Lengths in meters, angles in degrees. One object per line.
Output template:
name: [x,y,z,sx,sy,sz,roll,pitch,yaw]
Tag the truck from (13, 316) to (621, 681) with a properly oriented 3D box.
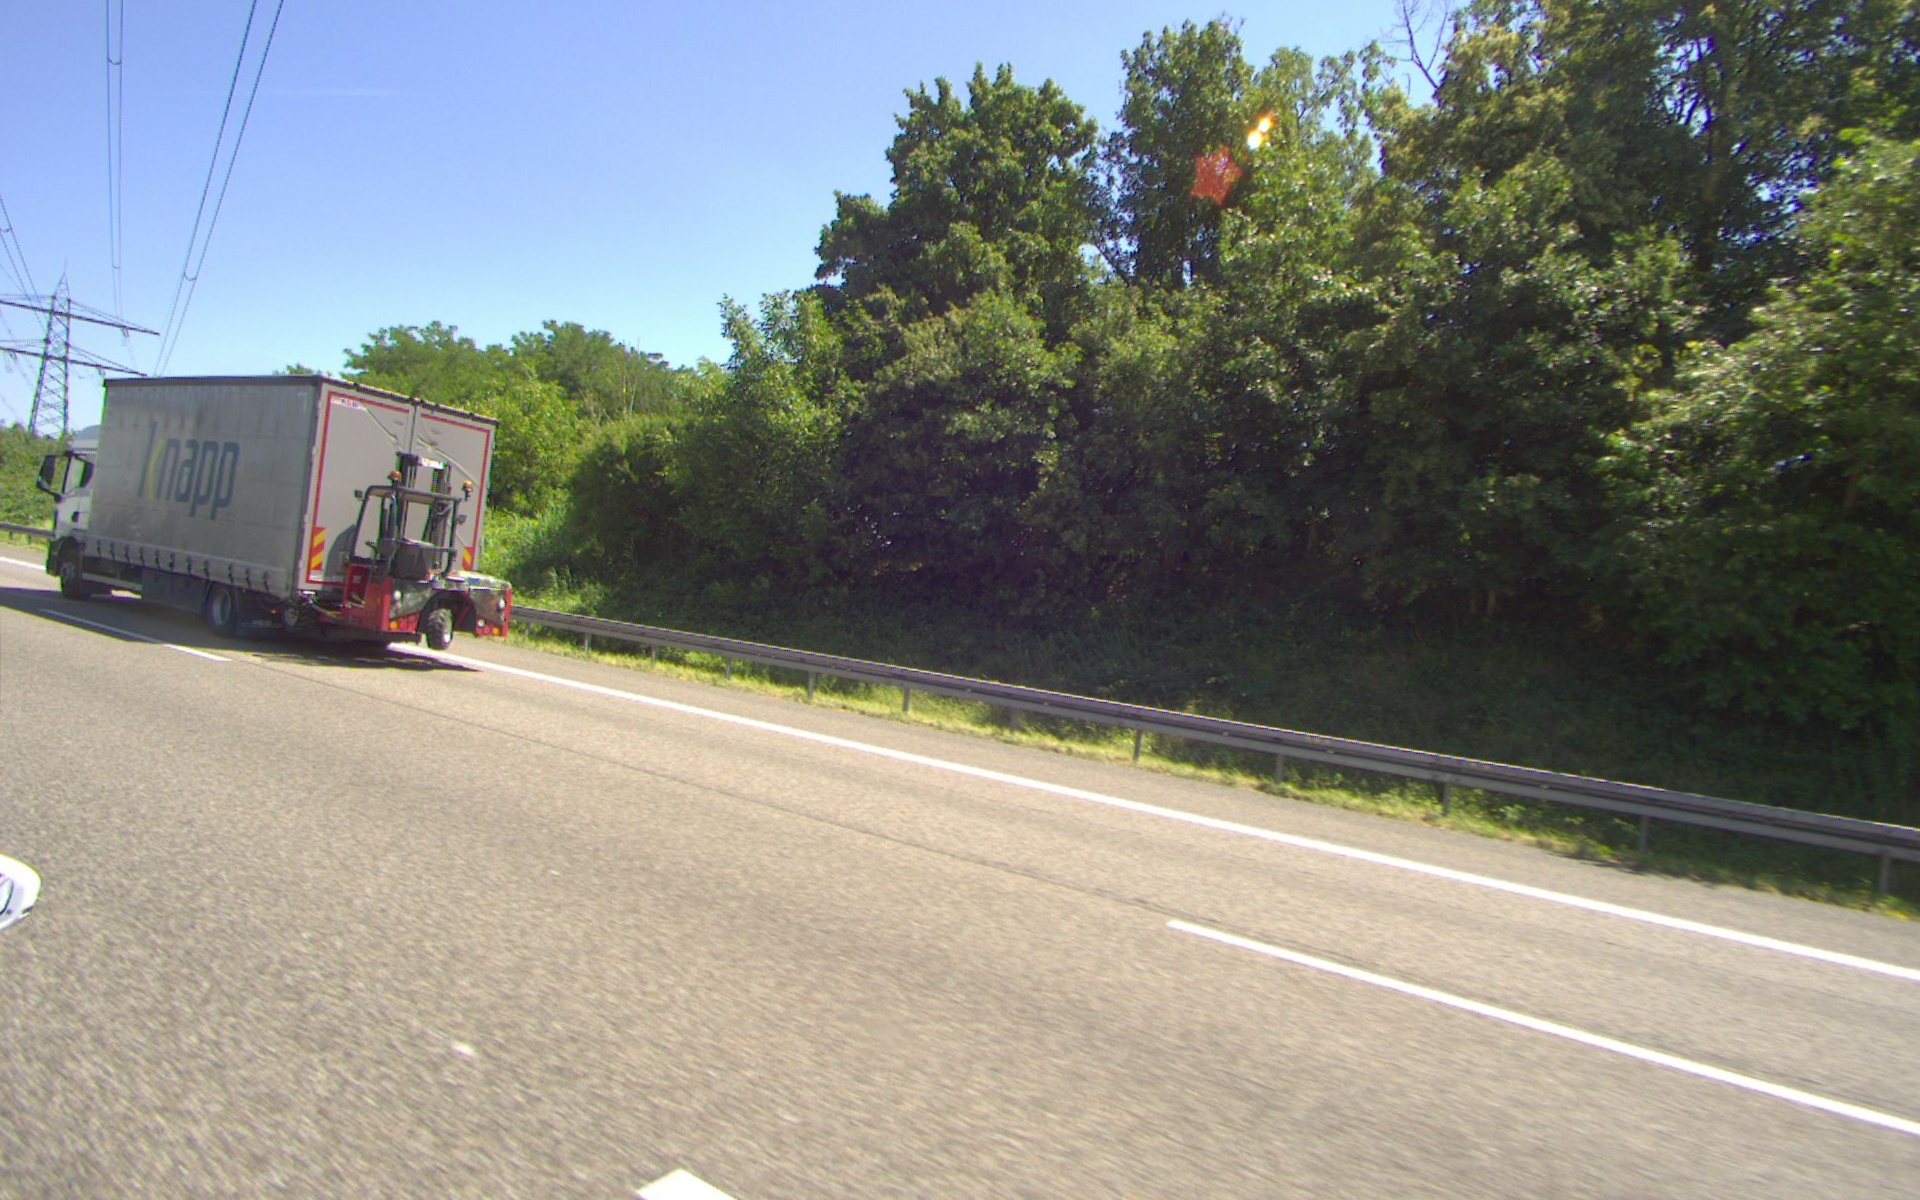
truck: [-11.123,-1.628,16.690,11.460,4.293,3.578,6,-2,32]
